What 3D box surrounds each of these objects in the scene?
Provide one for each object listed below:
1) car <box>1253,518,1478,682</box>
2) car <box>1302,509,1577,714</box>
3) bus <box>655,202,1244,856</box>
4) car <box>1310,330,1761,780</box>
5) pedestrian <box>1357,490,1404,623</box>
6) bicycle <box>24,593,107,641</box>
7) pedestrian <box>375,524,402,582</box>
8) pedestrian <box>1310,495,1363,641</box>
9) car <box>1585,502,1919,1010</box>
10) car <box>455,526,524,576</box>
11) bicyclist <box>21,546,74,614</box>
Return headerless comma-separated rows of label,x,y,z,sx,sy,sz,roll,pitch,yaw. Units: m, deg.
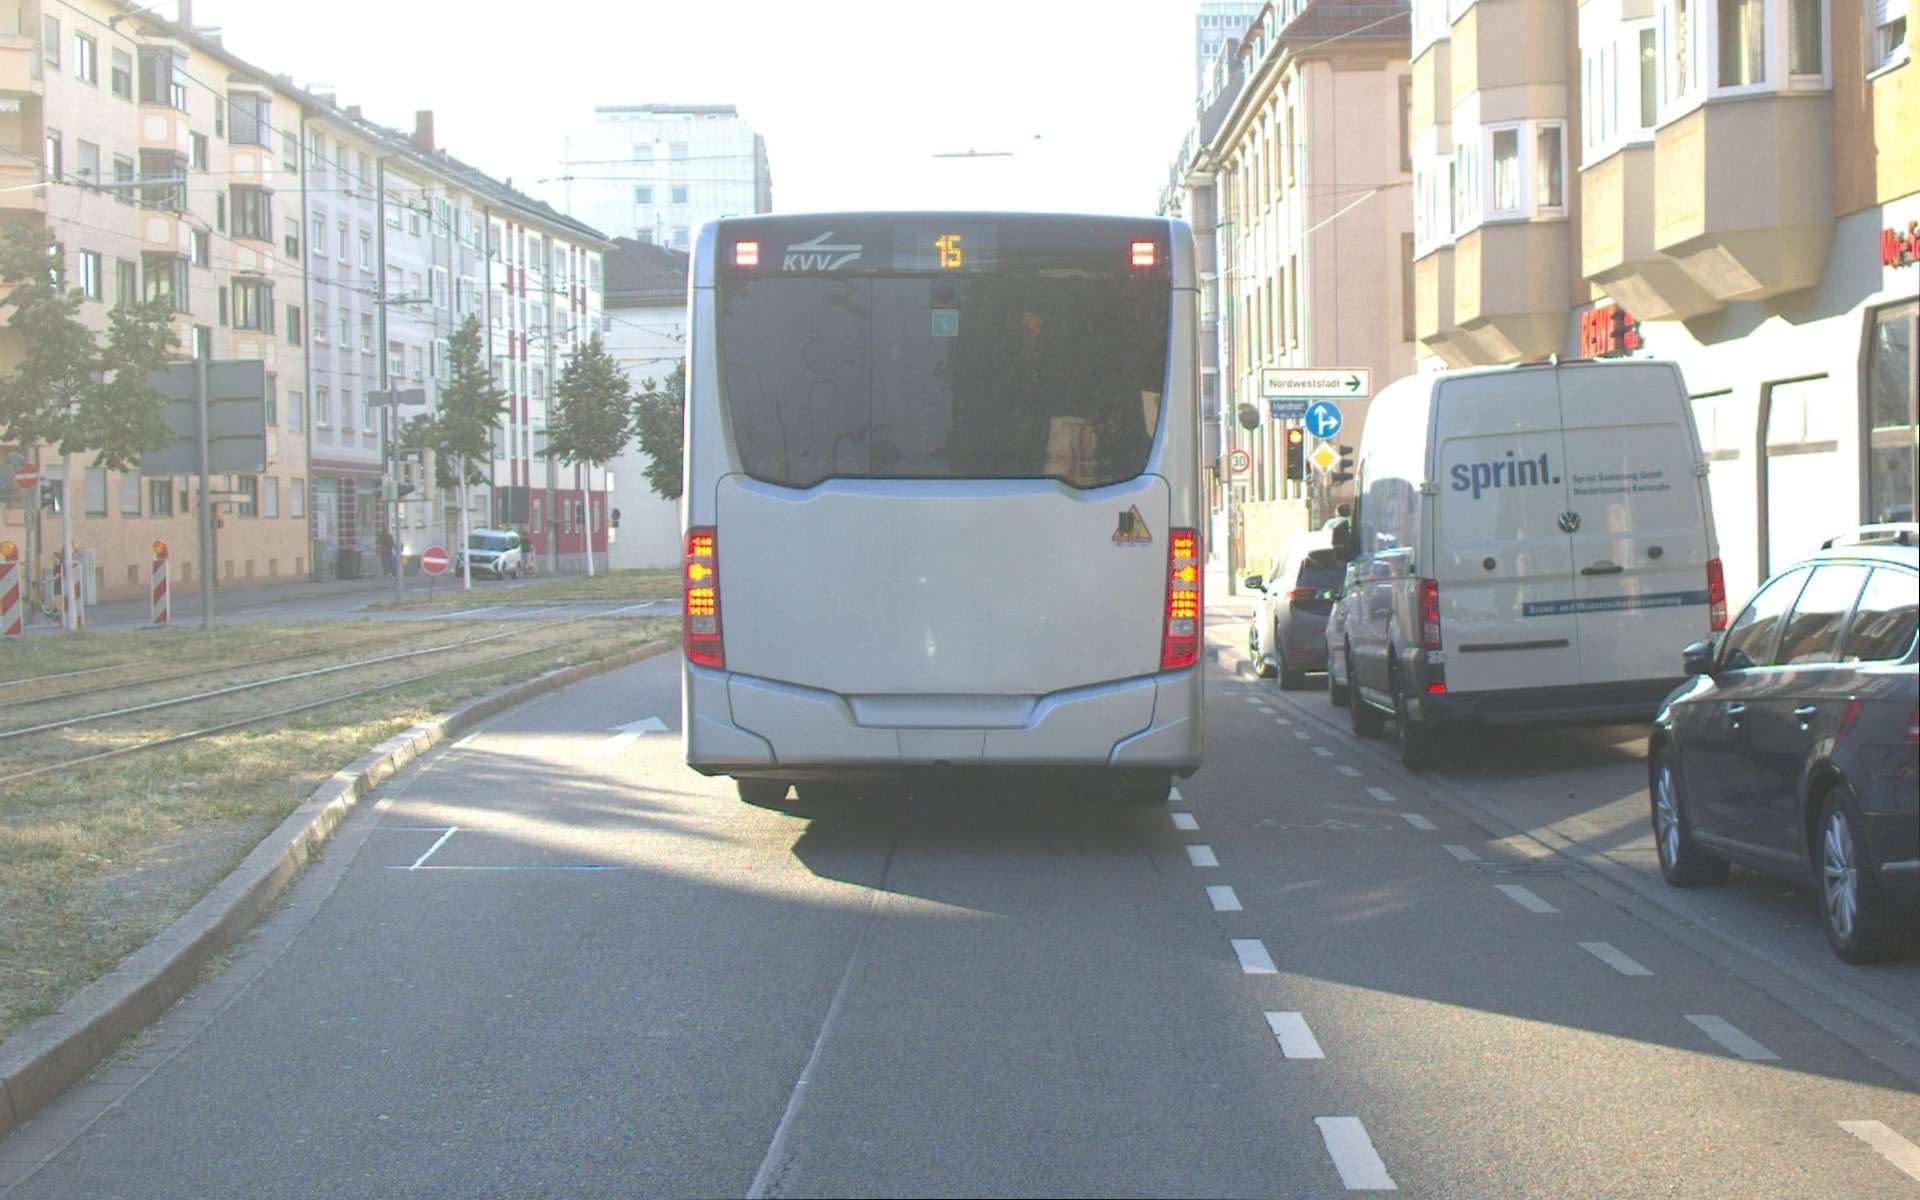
car,4.061,-0.045,35.012,1.838,1.531,4.230,-1,1,1
car,3.974,0.049,29.022,1.838,1.582,3.785,-1,1,1
bus,0.028,-0.429,20.559,2.739,3.045,8.854,1,1,1
car,3.743,-0.327,23.476,2.017,2.542,5.785,-4,1,1
pedestrian,5.682,-0.591,46.441,0.547,1.778,0.449,-1,1,1
bicycle,-19.427,0.373,74.686,0.528,0.980,1.880,-1,1,32
pedestrian,-19.837,-1.630,119.425,0.786,2.007,0.891,-1,1,-2
pedestrian,4.641,-0.401,42.429,0.547,1.778,0.449,-1,1,-4
car,3.694,0.412,12.985,1.696,1.525,4.652,-4,1,0
car,-17.693,-1.857,129.346,1.812,1.791,4.245,-1,1,2
bicyclist,-19.690,-0.443,74.211,0.528,1.442,0.964,-1,1,32
